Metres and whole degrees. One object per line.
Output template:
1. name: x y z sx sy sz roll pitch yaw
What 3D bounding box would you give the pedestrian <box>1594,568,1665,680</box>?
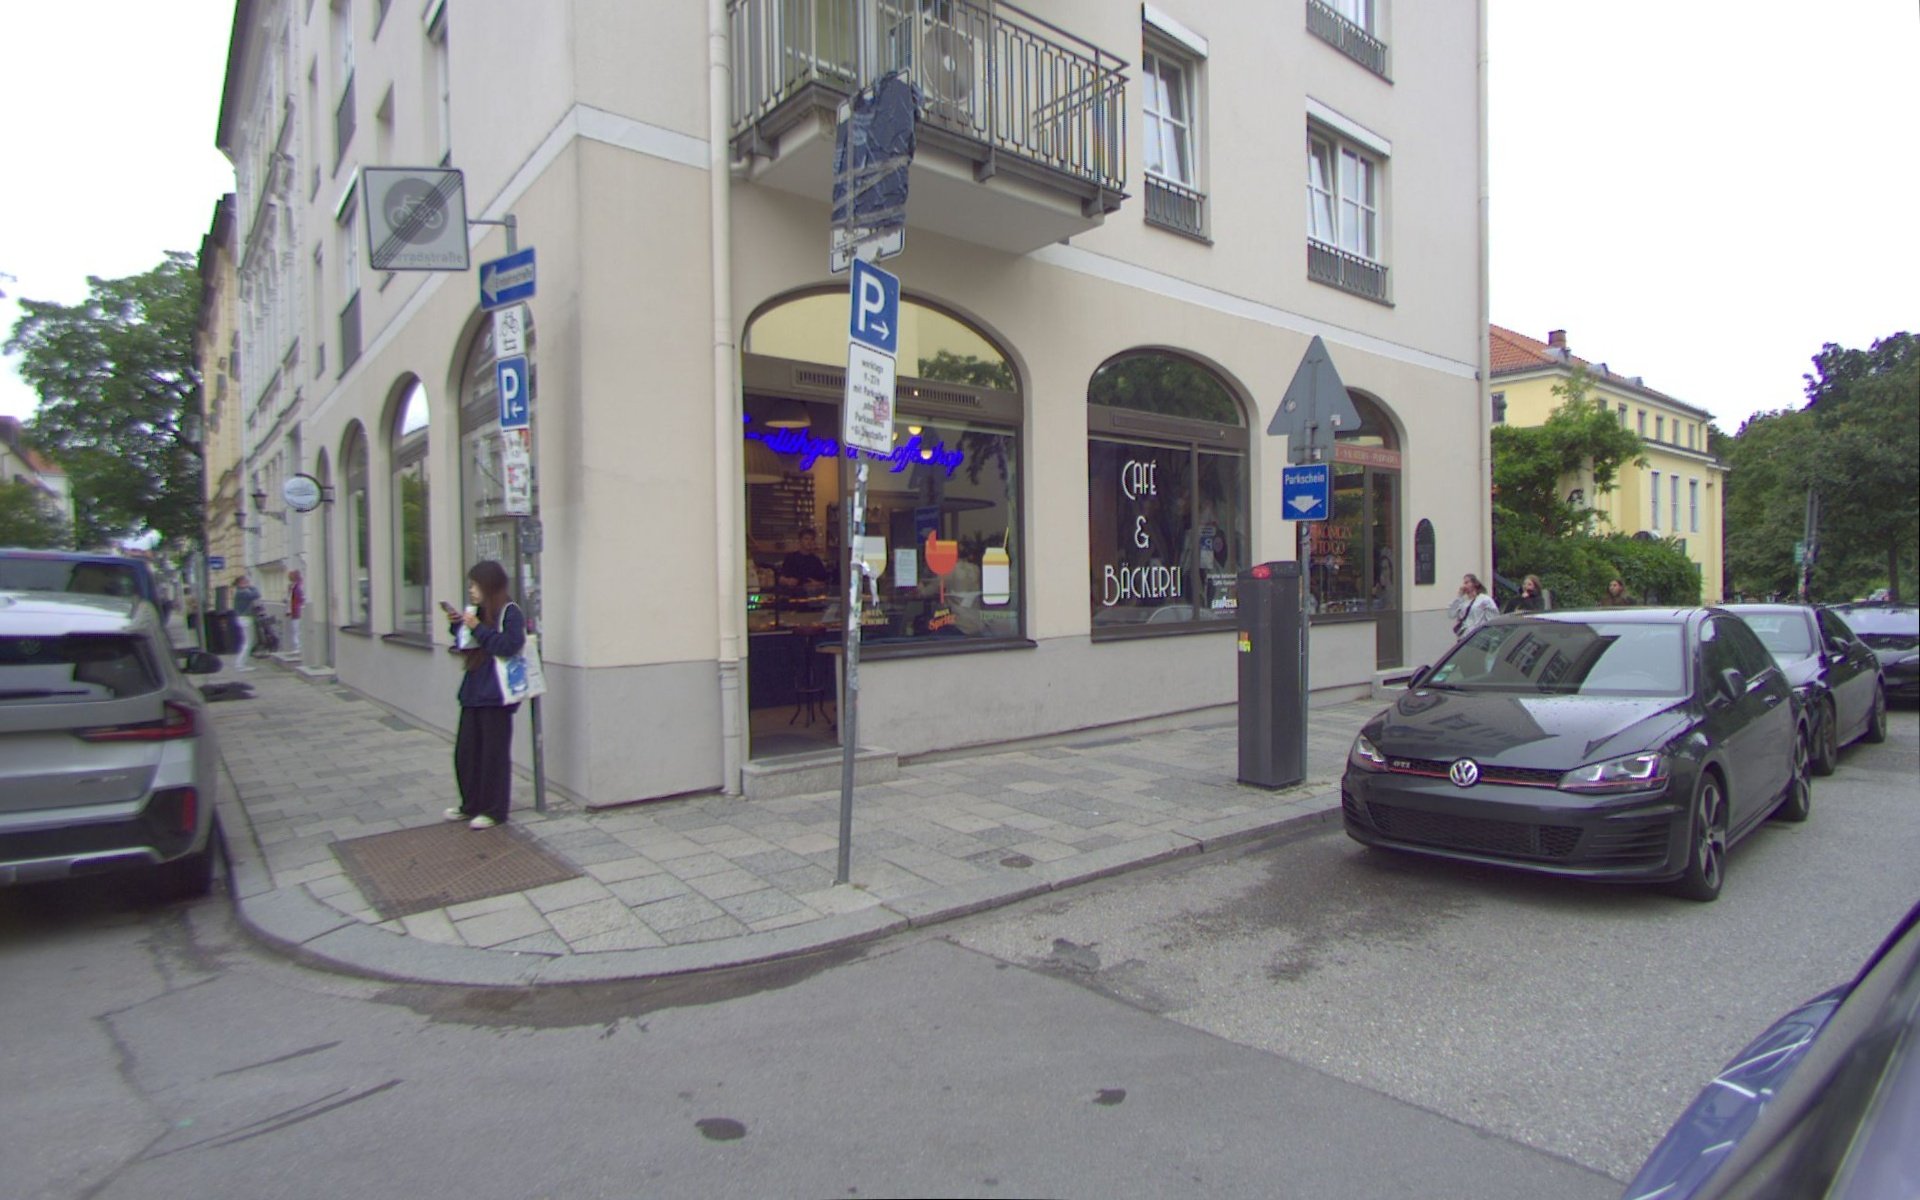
1. pedestrian: 10.313 0.345 15.588 0.865 1.642 0.706 -3 2 -40

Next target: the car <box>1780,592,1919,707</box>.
1. car: 13.554 0.610 14.588 4.573 1.428 1.806 -1 0 -39

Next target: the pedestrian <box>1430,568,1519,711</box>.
1. pedestrian: 6.368 0.457 12.520 0.865 1.682 0.706 -3 2 -40

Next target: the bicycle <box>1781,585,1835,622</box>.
1. bicycle: 29.776 0.120 35.543 1.624 1.213 0.169 2 1 3

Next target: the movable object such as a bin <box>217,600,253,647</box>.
1. movable object such as a bin: -17.040 0.541 23.791 0.557 1.035 0.573 -2 2 -27

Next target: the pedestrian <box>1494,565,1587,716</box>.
1. pedestrian: 6.861 0.441 11.955 0.865 1.682 0.706 -3 2 -40

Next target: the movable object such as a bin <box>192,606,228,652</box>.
1. movable object such as a bin: -17.828 0.686 24.064 0.557 1.035 0.573 -2 2 -27

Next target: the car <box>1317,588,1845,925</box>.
1. car: 4.103 0.684 6.378 4.131 1.443 1.677 -1 -2 -42

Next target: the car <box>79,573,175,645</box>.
1. car: -25.128 0.244 30.532 2.040 2.011 4.339 3 -1 -40

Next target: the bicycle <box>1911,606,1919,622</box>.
1. bicycle: 41.849 0.608 44.152 0.890 0.684 0.216 2 1 -28

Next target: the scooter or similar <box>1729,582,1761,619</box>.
1. scooter or similar: 27.438 0.024 35.367 1.362 1.263 0.397 1 0 -30

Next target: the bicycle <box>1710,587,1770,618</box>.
1. bicycle: 27.893 0.085 36.219 1.639 1.006 0.246 3 1 28

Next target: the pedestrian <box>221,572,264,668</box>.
1. pedestrian: -13.192 0.360 18.615 0.563 1.717 0.498 -2 2 -39

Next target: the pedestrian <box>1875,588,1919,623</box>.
1. pedestrian: 34.462 0.204 37.177 1.211 1.264 0.630 -1 -3 41

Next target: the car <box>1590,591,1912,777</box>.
1. car: 7.970 0.672 10.029 4.430 1.443 1.648 -1 -2 -41

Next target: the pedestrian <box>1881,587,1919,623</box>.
1. pedestrian: 35.188 0.190 37.753 1.173 1.310 0.630 -1 -3 41

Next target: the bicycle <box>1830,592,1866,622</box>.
1. bicycle: 31.824 0.255 36.252 1.620 1.051 0.308 2 1 -25

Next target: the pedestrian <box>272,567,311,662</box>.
1. pedestrian: -13.011 0.264 19.695 0.533 1.802 0.510 -2 2 -38

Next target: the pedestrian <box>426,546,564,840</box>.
1. pedestrian: -2.826 0.519 6.154 0.634 1.667 0.519 0 2 43

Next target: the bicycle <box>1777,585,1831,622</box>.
1. bicycle: 29.796 0.123 35.741 1.624 1.206 0.202 2 1 3

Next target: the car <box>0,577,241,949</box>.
1. car: -5.520 0.681 5.974 1.724 1.625 4.096 1 0 -40

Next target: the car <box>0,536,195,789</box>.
1. car: -8.670 0.458 9.614 1.940 1.941 4.448 3 -1 -40

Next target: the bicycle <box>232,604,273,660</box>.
1. bicycle: -14.757 0.646 21.099 0.597 1.085 1.470 -3 2 -38

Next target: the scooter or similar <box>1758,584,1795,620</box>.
1. scooter or similar: 28.068 0.063 34.791 0.317 1.228 1.118 1 0 -2

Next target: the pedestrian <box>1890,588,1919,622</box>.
1. pedestrian: 35.693 0.193 38.147 0.883 1.251 0.542 -1 -3 41
